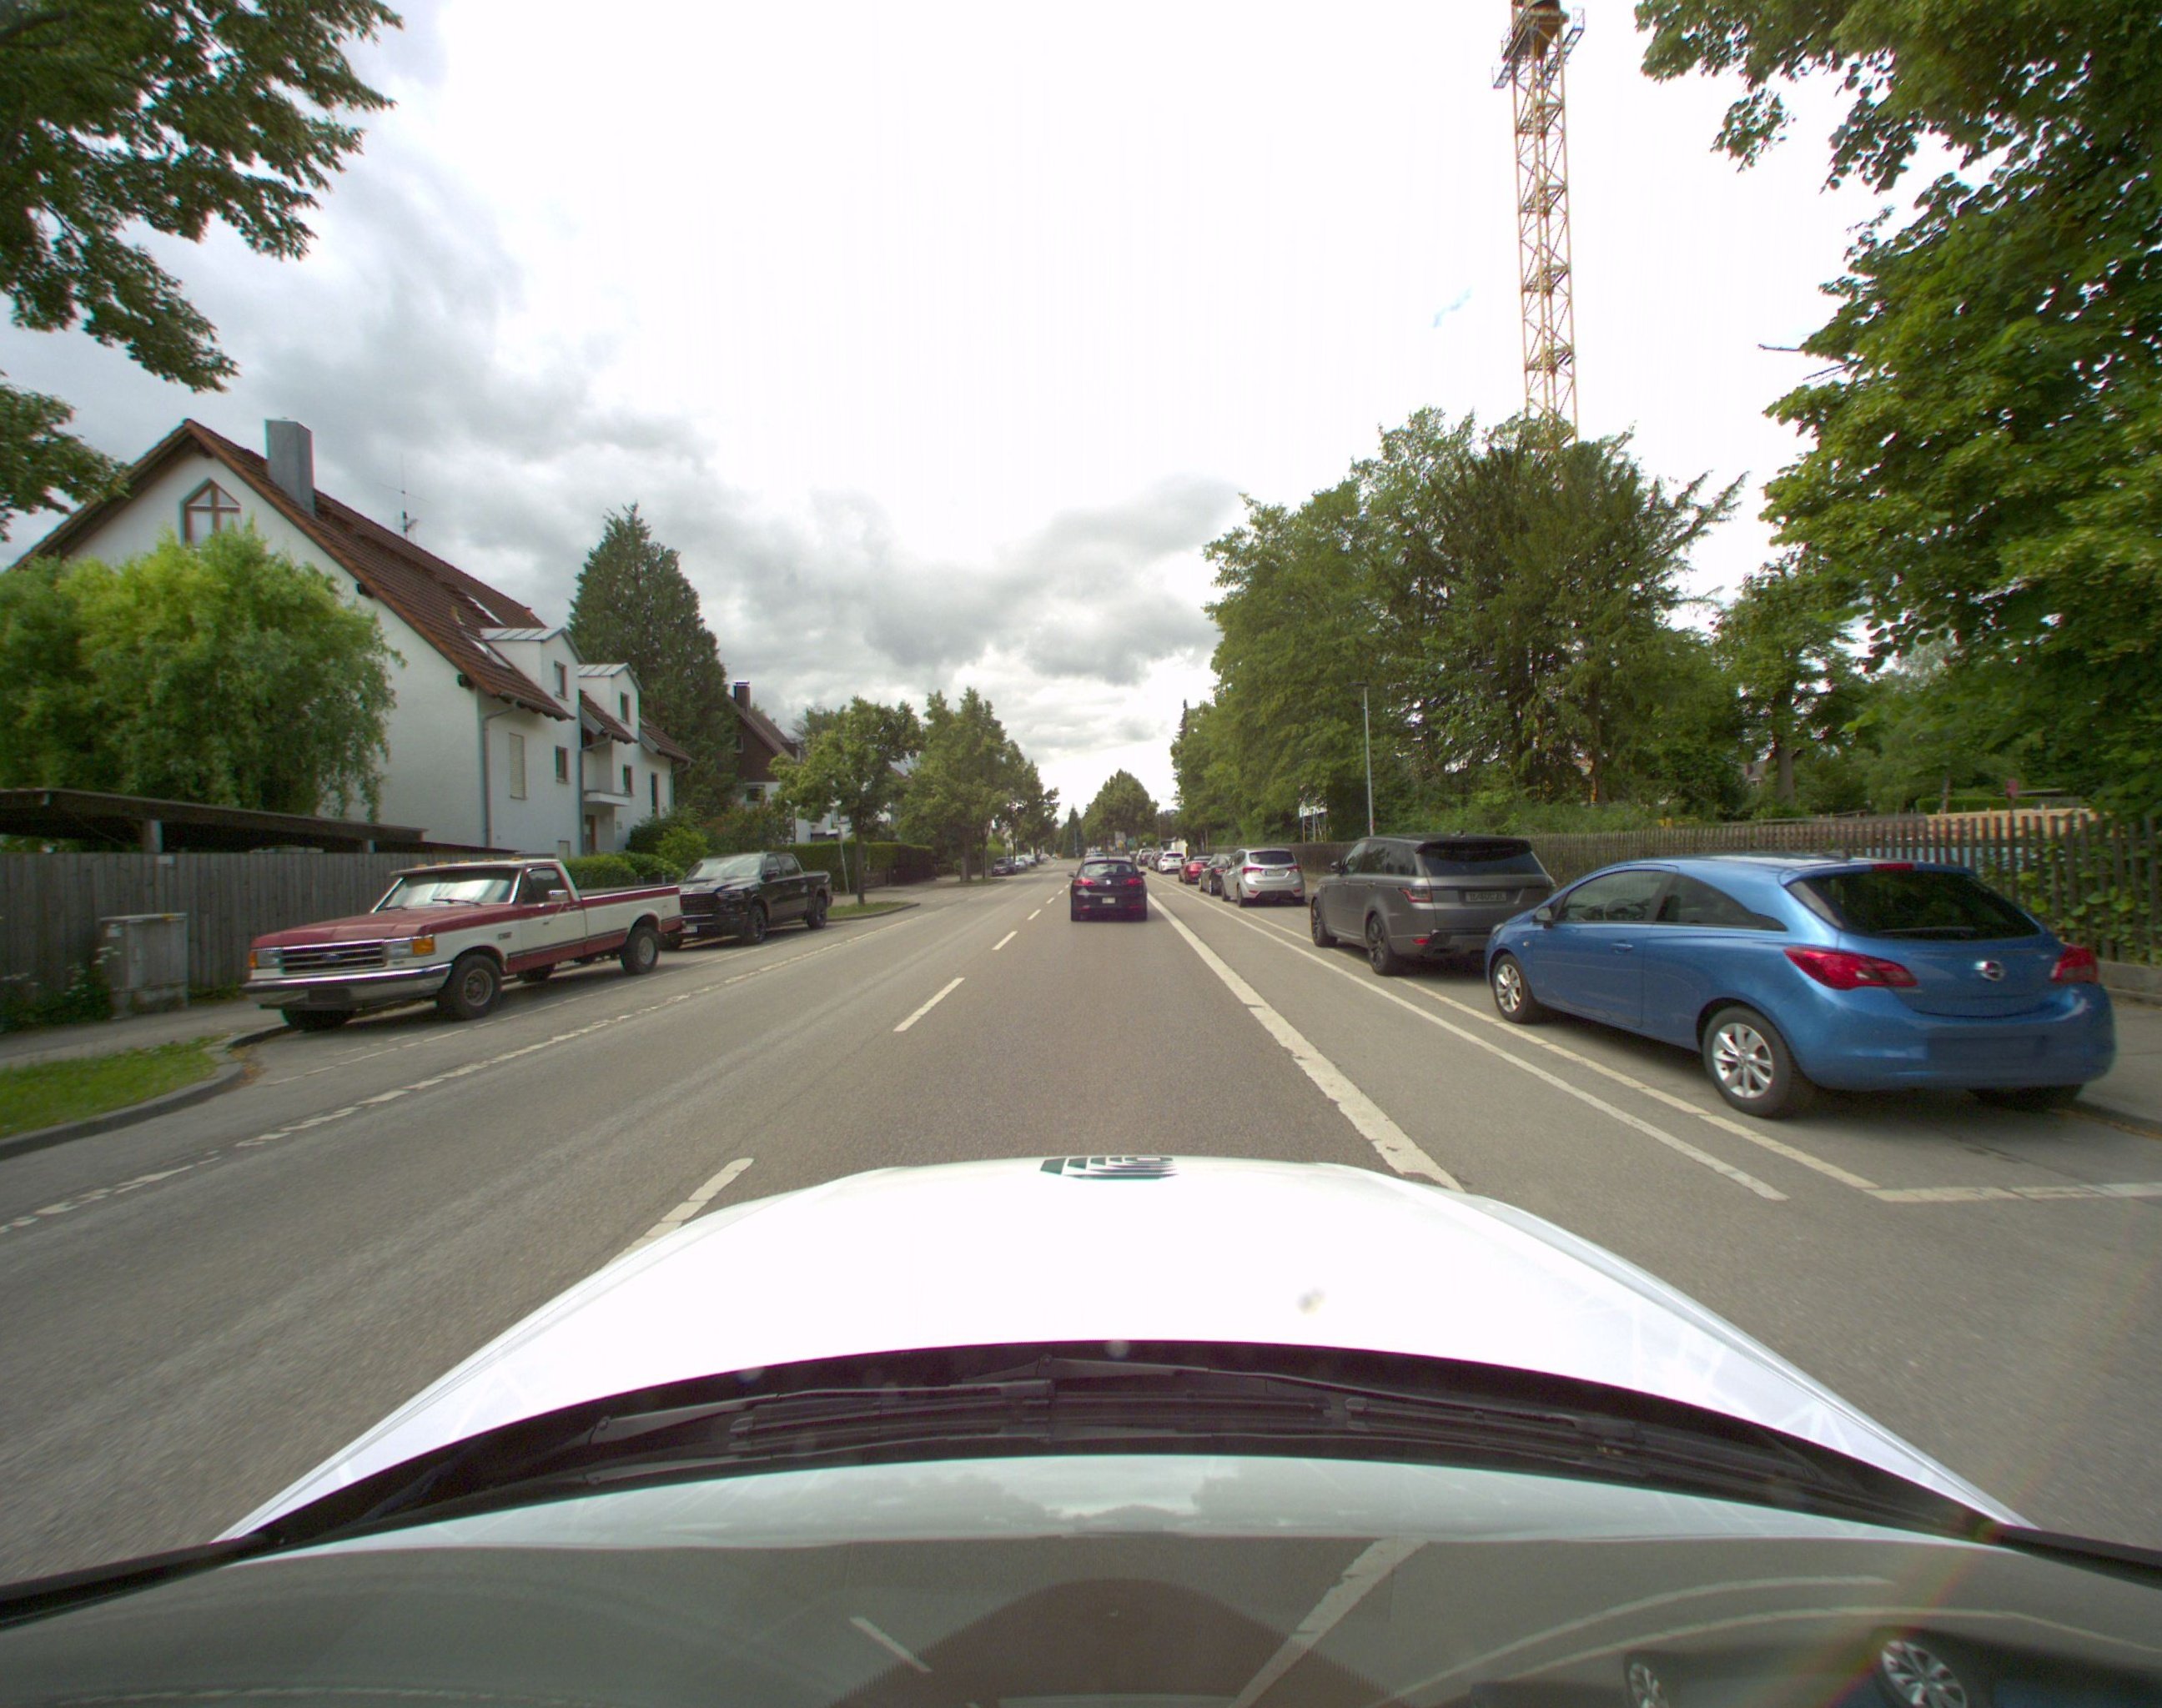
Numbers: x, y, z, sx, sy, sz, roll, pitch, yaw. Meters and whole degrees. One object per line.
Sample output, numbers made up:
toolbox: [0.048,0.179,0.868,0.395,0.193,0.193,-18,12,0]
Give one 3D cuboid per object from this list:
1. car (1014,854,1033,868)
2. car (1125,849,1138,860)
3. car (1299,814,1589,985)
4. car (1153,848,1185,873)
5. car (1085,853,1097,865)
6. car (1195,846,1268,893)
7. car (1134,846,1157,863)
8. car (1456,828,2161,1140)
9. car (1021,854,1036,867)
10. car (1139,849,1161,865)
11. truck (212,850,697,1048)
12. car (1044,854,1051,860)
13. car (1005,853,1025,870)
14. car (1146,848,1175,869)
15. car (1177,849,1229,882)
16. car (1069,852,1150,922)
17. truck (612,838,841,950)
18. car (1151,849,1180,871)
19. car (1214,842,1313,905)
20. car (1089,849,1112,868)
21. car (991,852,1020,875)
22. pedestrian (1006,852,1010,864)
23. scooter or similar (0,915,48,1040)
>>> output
car: [-6.440,0.778,91.543,1.989,1.485,4.884,-3,0,-3]
car: [7.571,0.071,121.757,1.607,1.377,4.386,-3,-1,0]
car: [4.580,0.506,11.256,1.986,1.816,4.829,-1,0,2]
car: [5.794,0.424,54.010,1.761,1.510,4.032,-2,0,2]
car: [1.703,0.800,136.851,1.987,2.013,4.000,-2,0,0]
car: [5.313,0.519,29.264,1.809,1.515,4.681,-1,0,1]
car: [6.714,0.094,85.124,1.895,1.642,4.115,-3,0,-1]
car: [4.537,0.653,6.013,1.679,1.501,3.920,-1,0,0]
car: [-6.452,0.773,100.280,1.673,1.552,4.269,-3,0,-2]
car: [6.653,0.286,78.451,1.856,1.417,4.605,-2,0,2]
truck: [-7.697,0.961,11.098,1.959,1.868,5.667,-4,0,2]
car: [-9.200,0.802,223.084,1.793,1.601,3.997,-3,0,-2]
car: [-6.618,0.749,82.302,1.713,1.613,3.908,-3,0,-1]
car: [6.362,0.383,65.460,1.855,1.611,4.686,-1,0,0]
car: [5.688,0.486,38.415,1.852,1.413,4.444,0,1,1]
car: [0.688,0.717,19.576,1.725,1.486,4.002,-1,0,2]
truck: [-7.695,0.756,18.643,2.414,2.043,5.996,-2,0,1]
car: [6.136,0.400,59.612,1.696,1.510,4.539,-1,1,1]
car: [5.162,0.511,23.645,1.856,1.589,4.420,-2,0,0]
car: [1.767,0.417,73.956,1.987,1.613,4.000,-2,0,0]
car: [-6.253,0.765,68.017,2.090,1.647,5.034,-4,0,-2]
pedestrian: [-10.990,0.601,122.852,0.502,1.806,0.671,-3,0,-1]
scooter or similar: [-11.008,1.226,7.767,0.634,1.212,1.304,0,-1,-2]
